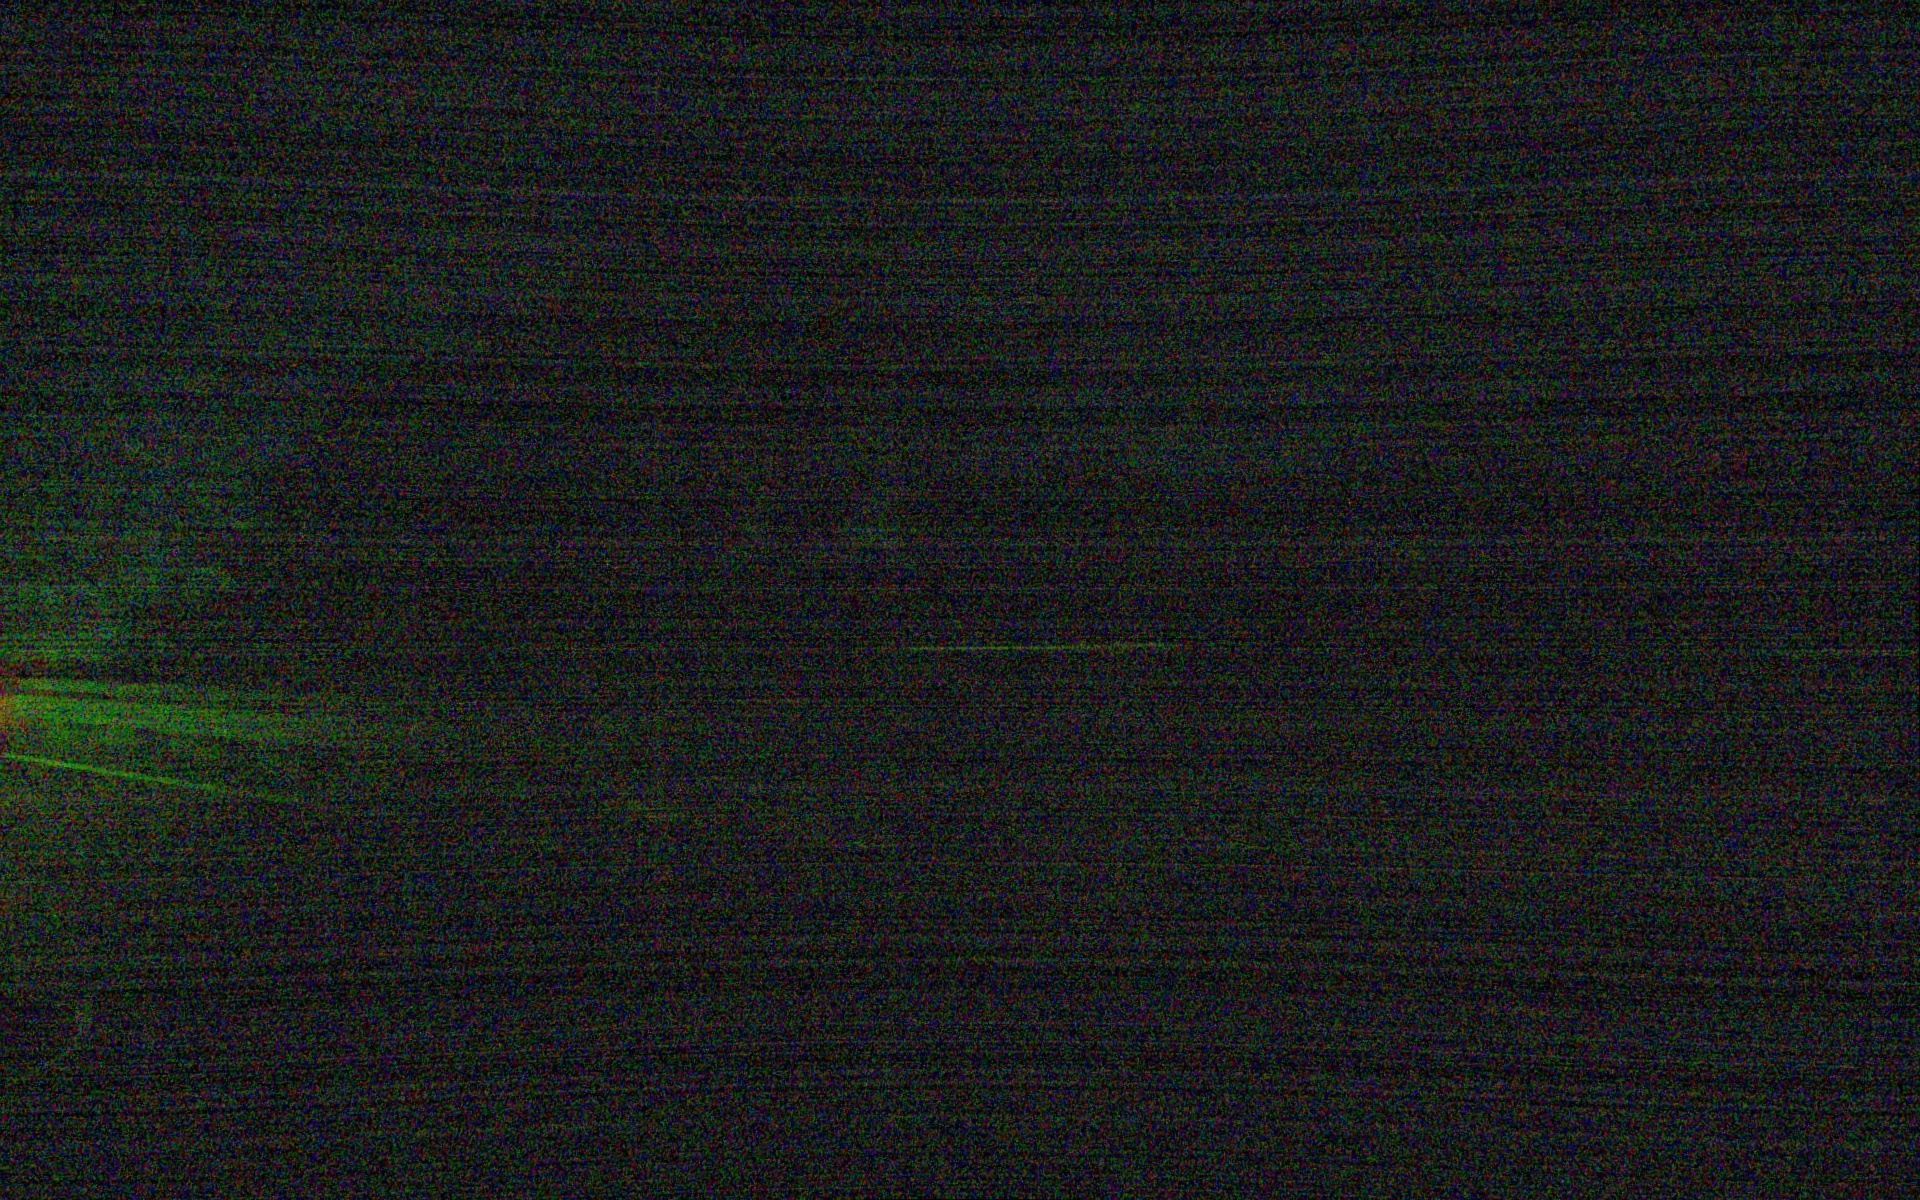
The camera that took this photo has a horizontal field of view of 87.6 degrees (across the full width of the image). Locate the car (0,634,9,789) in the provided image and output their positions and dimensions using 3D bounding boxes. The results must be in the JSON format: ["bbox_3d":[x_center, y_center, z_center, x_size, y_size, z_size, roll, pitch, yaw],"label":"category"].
[{"bbox_3d":[-11.401,1.066,9.856,4.804,1.445,1.805,-1,-1,32],"label":"car"}]
